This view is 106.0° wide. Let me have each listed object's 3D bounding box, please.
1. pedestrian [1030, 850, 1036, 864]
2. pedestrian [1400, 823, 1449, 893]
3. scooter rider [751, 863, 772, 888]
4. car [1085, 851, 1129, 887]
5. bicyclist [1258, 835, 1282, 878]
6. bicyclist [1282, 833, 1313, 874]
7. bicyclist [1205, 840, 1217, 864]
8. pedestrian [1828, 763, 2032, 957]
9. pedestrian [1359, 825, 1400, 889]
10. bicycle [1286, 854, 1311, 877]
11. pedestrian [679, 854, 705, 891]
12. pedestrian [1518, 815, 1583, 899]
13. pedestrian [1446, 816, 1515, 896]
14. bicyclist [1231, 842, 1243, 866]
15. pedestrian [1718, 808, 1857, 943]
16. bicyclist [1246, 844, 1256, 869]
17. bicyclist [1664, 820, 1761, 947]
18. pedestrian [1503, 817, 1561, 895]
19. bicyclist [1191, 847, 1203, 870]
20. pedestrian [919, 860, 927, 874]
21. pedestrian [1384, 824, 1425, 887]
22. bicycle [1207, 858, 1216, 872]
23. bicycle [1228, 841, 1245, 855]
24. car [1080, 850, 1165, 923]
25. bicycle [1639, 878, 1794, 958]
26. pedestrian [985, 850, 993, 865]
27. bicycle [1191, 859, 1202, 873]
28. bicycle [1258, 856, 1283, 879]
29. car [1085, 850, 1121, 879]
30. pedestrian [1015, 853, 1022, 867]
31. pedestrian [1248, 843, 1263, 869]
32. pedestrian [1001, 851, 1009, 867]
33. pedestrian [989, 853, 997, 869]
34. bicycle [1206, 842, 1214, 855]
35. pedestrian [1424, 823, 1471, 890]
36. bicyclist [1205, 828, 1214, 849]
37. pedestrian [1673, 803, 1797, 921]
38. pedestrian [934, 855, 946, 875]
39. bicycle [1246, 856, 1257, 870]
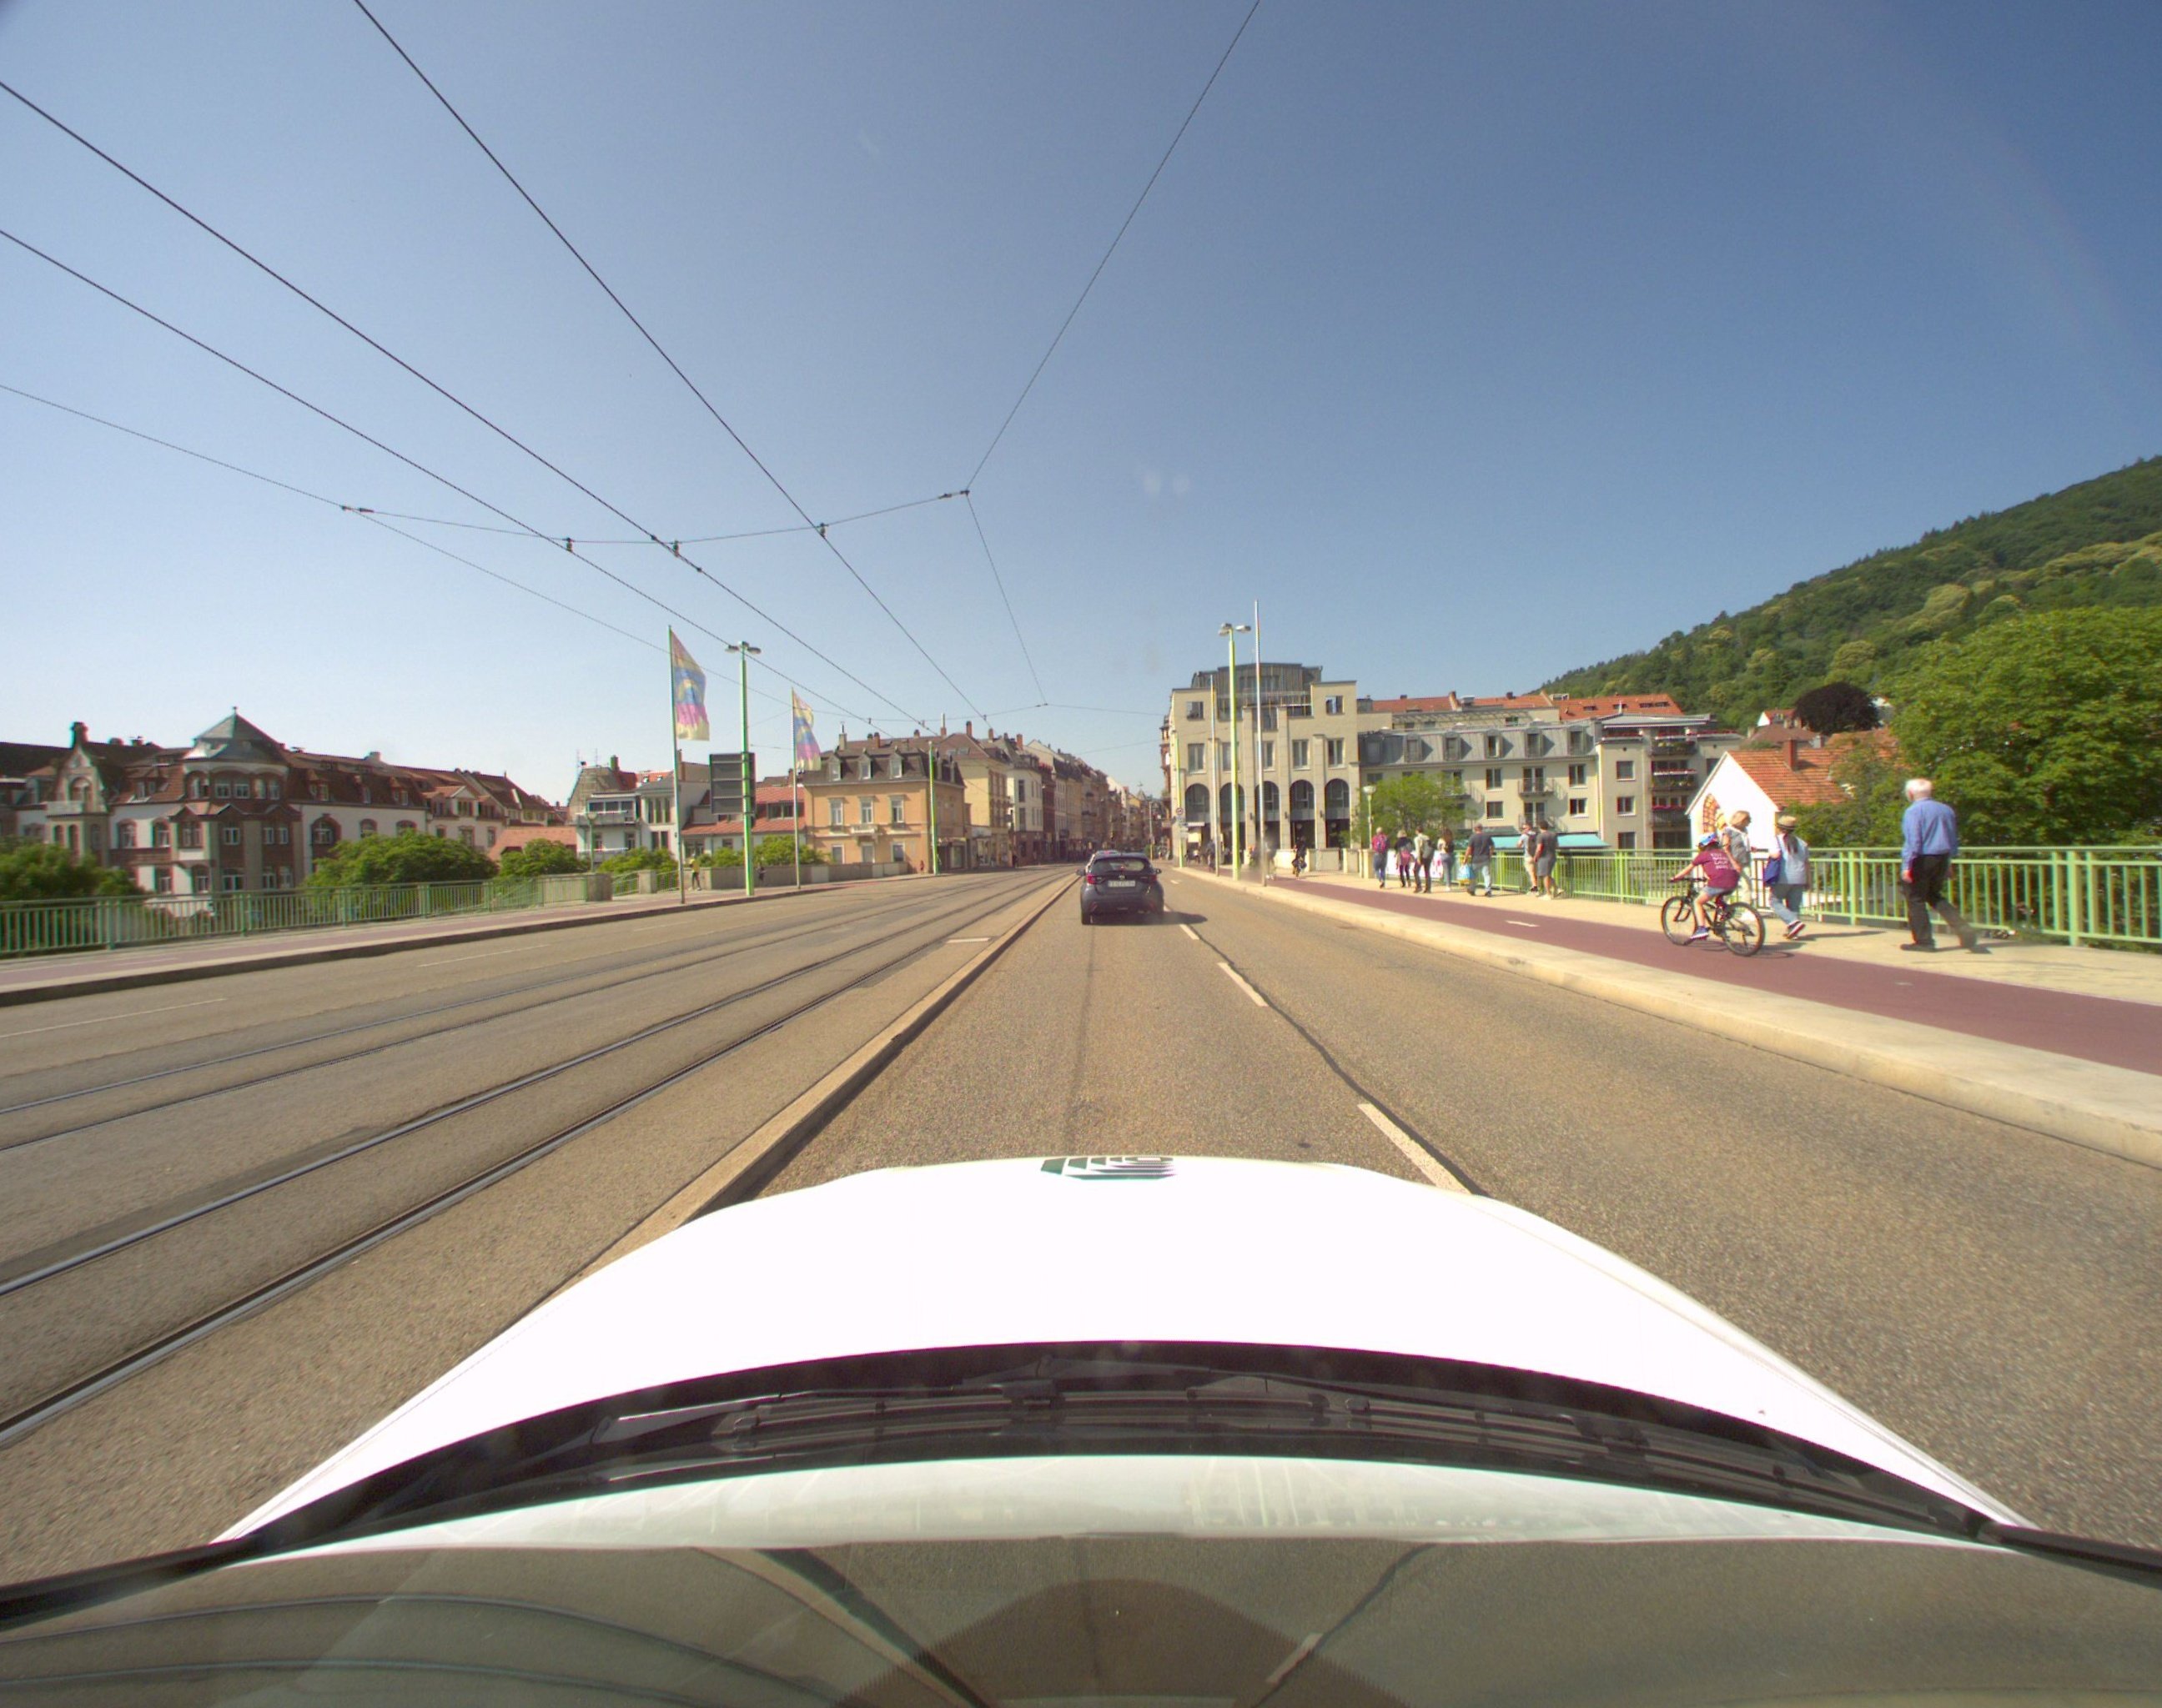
[{"bbox_3d":[-6.471,0.430,109.372,0.734,1.766,0.787,-2,1,2],"label":"pedestrian"},{"bbox_3d":[8.948,0.101,21.241,0.752,1.718,1.073,-3,0,1],"label":"pedestrian"},{"bbox_3d":[-17.079,1.129,43.495,0.763,1.315,0.600,2,0,13],"label":"scooter rider"},{"bbox_3d":[1.184,0.621,37.011,1.890,1.530,4.002,0,0,2],"label":"car"},{"bbox_3d":[7.665,0.100,33.081,0.699,1.695,0.925,-3,0,2],"label":"bicyclist"},{"bbox_3d":[9.251,-0.026,34.852,1.132,1.695,0.927,-3,0,9],"label":"bicyclist"},{"bbox_3d":[7.465,-0.107,46.838,0.535,1.316,0.673,-4,0,6],"label":"bicyclist"},{"bbox_3d":[8.997,0.057,8.697,0.922,1.897,1.137,-3,0,1],"label":"pedestrian"},{"bbox_3d":[8.790,0.095,24.021,0.736,1.802,1.016,-3,0,1],"label":"pedestrian"},{"bbox_3d":[9.268,0.482,34.727,0.793,0.882,1.833,-3,0,9],"label":"bicycle"},{"bbox_3d":[-18.836,0.889,39.435,0.740,1.781,0.804,-3,0,12],"label":"pedestrian"},{"bbox_3d":[10.119,0.065,17.598,0.736,1.718,1.016,-3,0,1],"label":"pedestrian"},{"bbox_3d":[9.430,0.045,19.263,0.974,1.777,1.208,-3,0,1],"label":"pedestrian"},{"bbox_3d":[9.412,0.001,49.111,0.487,1.466,0.438,-3,0,-37],"label":"bicyclist"},{"bbox_3d":[8.654,0.249,10.021,0.826,1.529,0.933,-3,0,1],"label":"pedestrian"},{"bbox_3d":[9.722,0.144,46.495,0.420,1.383,0.444,-4,0,2],"label":"bicyclist"},{"bbox_3d":[7.258,0.330,9.383,0.532,1.383,0.669,-3,0,2],"label":"bicyclist"},{"bbox_3d":[10.326,0.046,18.678,0.736,1.718,1.016,-3,0,1],"label":"pedestrian"},{"bbox_3d":[12.714,0.486,89.297,1.222,2.529,1.106,3,0,5],"label":"bicyclist"},{"bbox_3d":[-13.116,1.062,67.573,0.409,1.146,0.546,2,0,9],"label":"pedestrian"},{"bbox_3d":[9.588,0.047,24.148,0.736,1.777,1.016,-3,0,1],"label":"pedestrian"},{"bbox_3d":[7.500,0.634,46.795,0.414,0.765,1.208,-3,0,6],"label":"bicycle"},{"bbox_3d":[9.373,-0.363,49.148,0.420,0.765,0.951,-3,0,-37],"label":"bicycle"},{"bbox_3d":[0.892,0.650,18.317,1.713,1.473,3.659,0,0,2],"label":"car"},{"bbox_3d":[7.288,0.705,9.442,0.512,0.765,1.661,-3,0,2],"label":"bicycle"},{"bbox_3d":[-10.071,0.378,89.046,0.646,1.602,0.566,2,2,2],"label":"pedestrian"},{"bbox_3d":[12.644,1.319,89.202,1.106,1.420,3.012,3,0,6],"label":"bicycle"},{"bbox_3d":[7.689,0.548,33.053,0.701,0.882,1.526,-3,0,3],"label":"bicycle"},{"bbox_3d":[1.216,0.530,45.204,1.890,1.530,4.002,0,0,2],"label":"car"},{"bbox_3d":[-7.227,0.712,94.608,0.646,1.602,0.566,2,2,2],"label":"pedestrian"},{"bbox_3d":[11.059,0.104,51.604,0.736,1.615,1.016,3,0,1],"label":"pedestrian"},{"bbox_3d":[-8.476,0.542,90.823,0.733,1.766,0.787,3,0,2],"label":"pedestrian"},{"bbox_3d":[-9.285,0.747,85.984,0.646,1.602,0.566,2,2,2],"label":"pedestrian"},{"bbox_3d":[7.950,-0.322,50.279,0.414,0.765,0.963,-3,0,5],"label":"bicycle"},{"bbox_3d":[9.940,0.067,22.131,0.736,1.746,1.016,-3,0,1],"label":"pedestrian"},{"bbox_3d":[7.921,-0.973,50.318,0.420,1.256,0.444,-4,0,5],"label":"bicyclist"},{"bbox_3d":[9.872,0.112,12.347,0.944,1.662,1.083,-3,0,1],"label":"pedestrian"},{"bbox_3d":[-11.808,0.887,68.192,0.757,1.654,0.713,2,0,9],"label":"pedestrian"},{"bbox_3d":[9.743,0.501,46.523,0.415,0.765,0.962,-3,0,2],"label":"bicycle"}]
